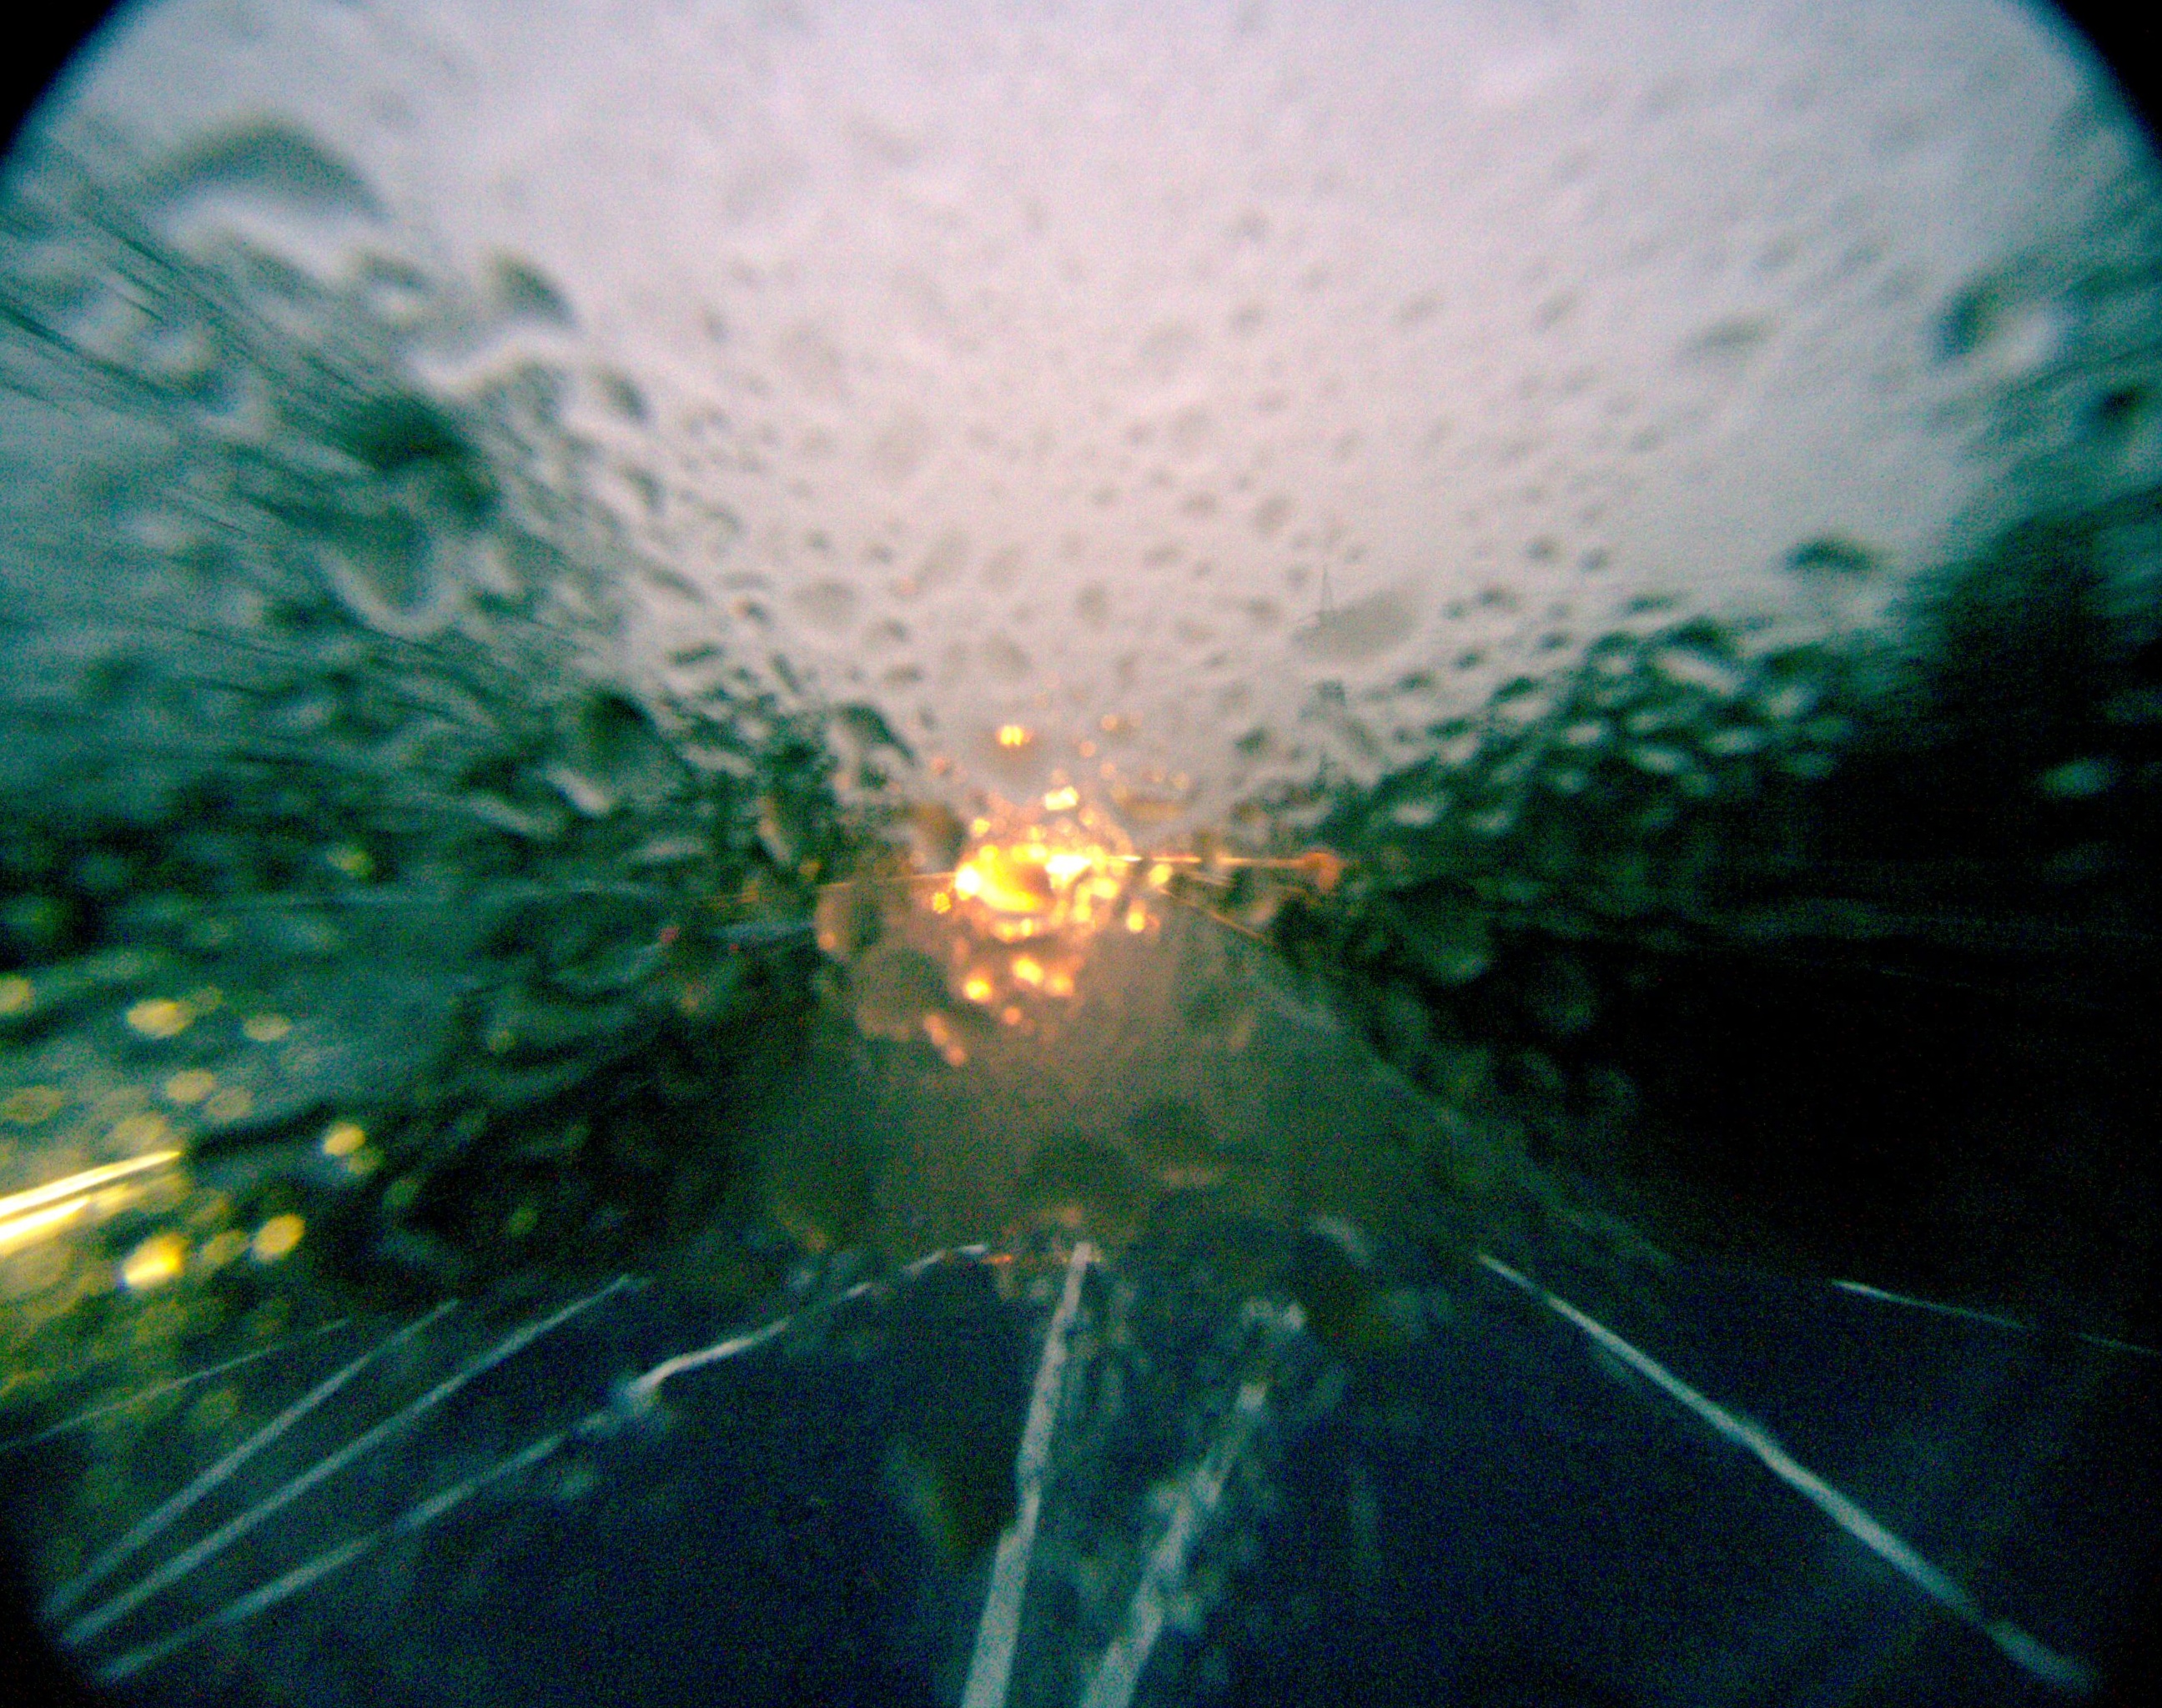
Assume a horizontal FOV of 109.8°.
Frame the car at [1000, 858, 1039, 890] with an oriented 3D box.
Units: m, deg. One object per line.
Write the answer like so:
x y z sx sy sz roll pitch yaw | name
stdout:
-3.176 0.987 39.679 1.598 1.482 3.594 -3 0 0 | car

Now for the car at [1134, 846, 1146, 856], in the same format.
11.406 -0.635 147.511 1.998 1.758 3.999 -4 1 0 | car

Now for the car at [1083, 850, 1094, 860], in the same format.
1.258 0.178 123.227 1.632 1.466 3.999 -2 0 -1 | car

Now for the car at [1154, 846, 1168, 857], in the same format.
12.364 -0.357 118.124 1.758 1.648 4.000 -3 0 0 | car

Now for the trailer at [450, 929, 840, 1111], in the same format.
-3.541 1.319 6.832 1.752 0.919 2.950 -2 0 0 | trailer

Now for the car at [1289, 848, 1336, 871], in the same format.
14.674 0.335 48.362 1.708 1.343 4.156 -3 0 0 | car

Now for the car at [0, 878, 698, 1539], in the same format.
-3.575 0.956 3.324 1.791 1.508 3.811 -2 0 0 | car

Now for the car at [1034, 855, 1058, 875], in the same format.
-2.784 0.860 61.557 1.682 1.500 3.808 -3 0 0 | car

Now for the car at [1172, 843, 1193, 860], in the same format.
12.522 -0.316 94.127 1.998 1.997 4.000 -3 0 0 | car
